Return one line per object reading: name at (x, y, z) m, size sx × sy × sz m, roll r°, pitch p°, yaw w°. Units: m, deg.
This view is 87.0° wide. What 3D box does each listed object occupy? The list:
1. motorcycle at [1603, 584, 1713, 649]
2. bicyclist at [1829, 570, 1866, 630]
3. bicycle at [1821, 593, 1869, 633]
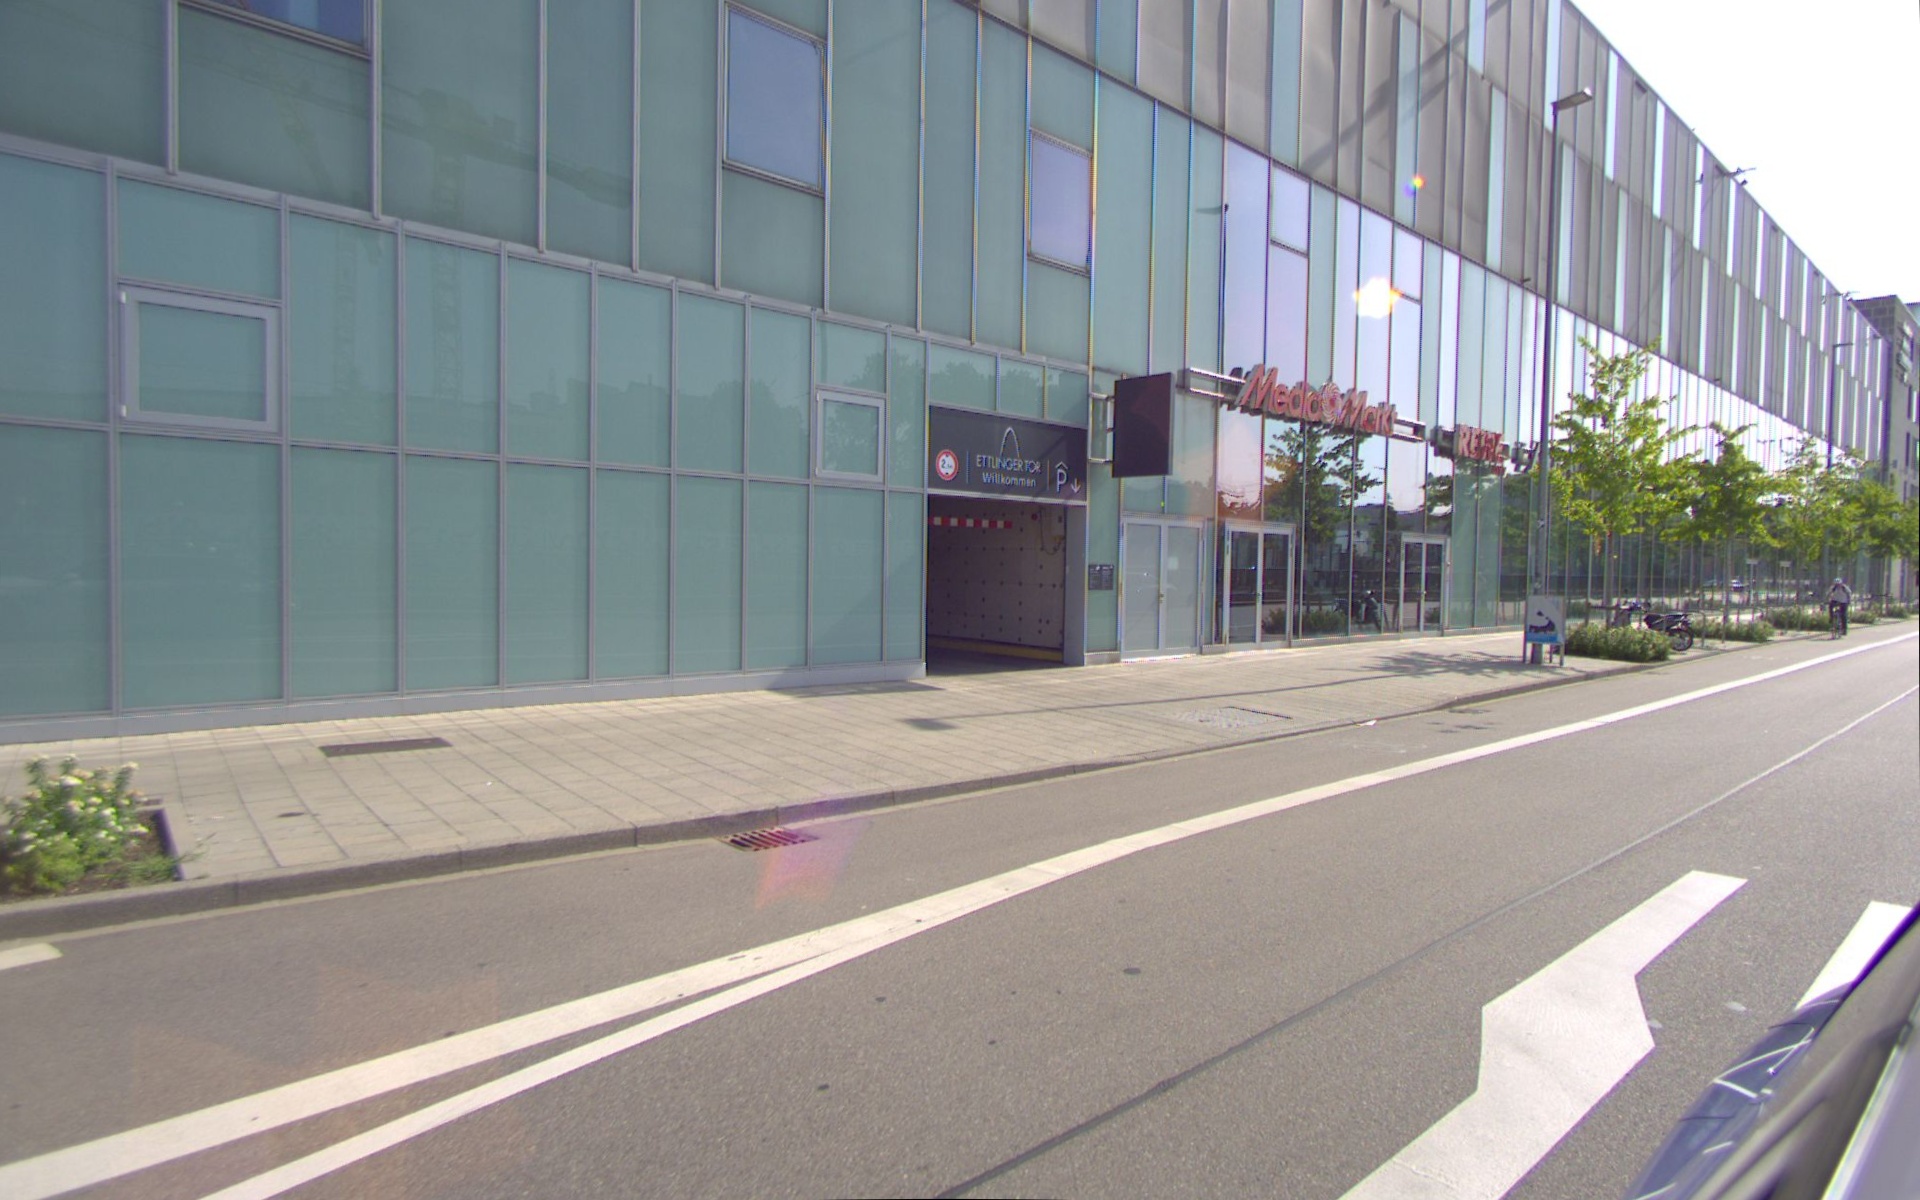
motorcycle at (15.964, 0.345, 23.169) m, size 1.966 × 1.366 × 0.855 m, roll 3°, pitch 3°, yaw 40°
bicyclist at (26.492, -0.007, 30.214) m, size 0.755 × 1.770 × 0.653 m, roll 0°, pitch 2°, yaw -38°
bicycle at (26.339, 0.366, 30.118) m, size 2.013 × 1.131 × 0.663 m, roll 0°, pitch 2°, yaw -38°
